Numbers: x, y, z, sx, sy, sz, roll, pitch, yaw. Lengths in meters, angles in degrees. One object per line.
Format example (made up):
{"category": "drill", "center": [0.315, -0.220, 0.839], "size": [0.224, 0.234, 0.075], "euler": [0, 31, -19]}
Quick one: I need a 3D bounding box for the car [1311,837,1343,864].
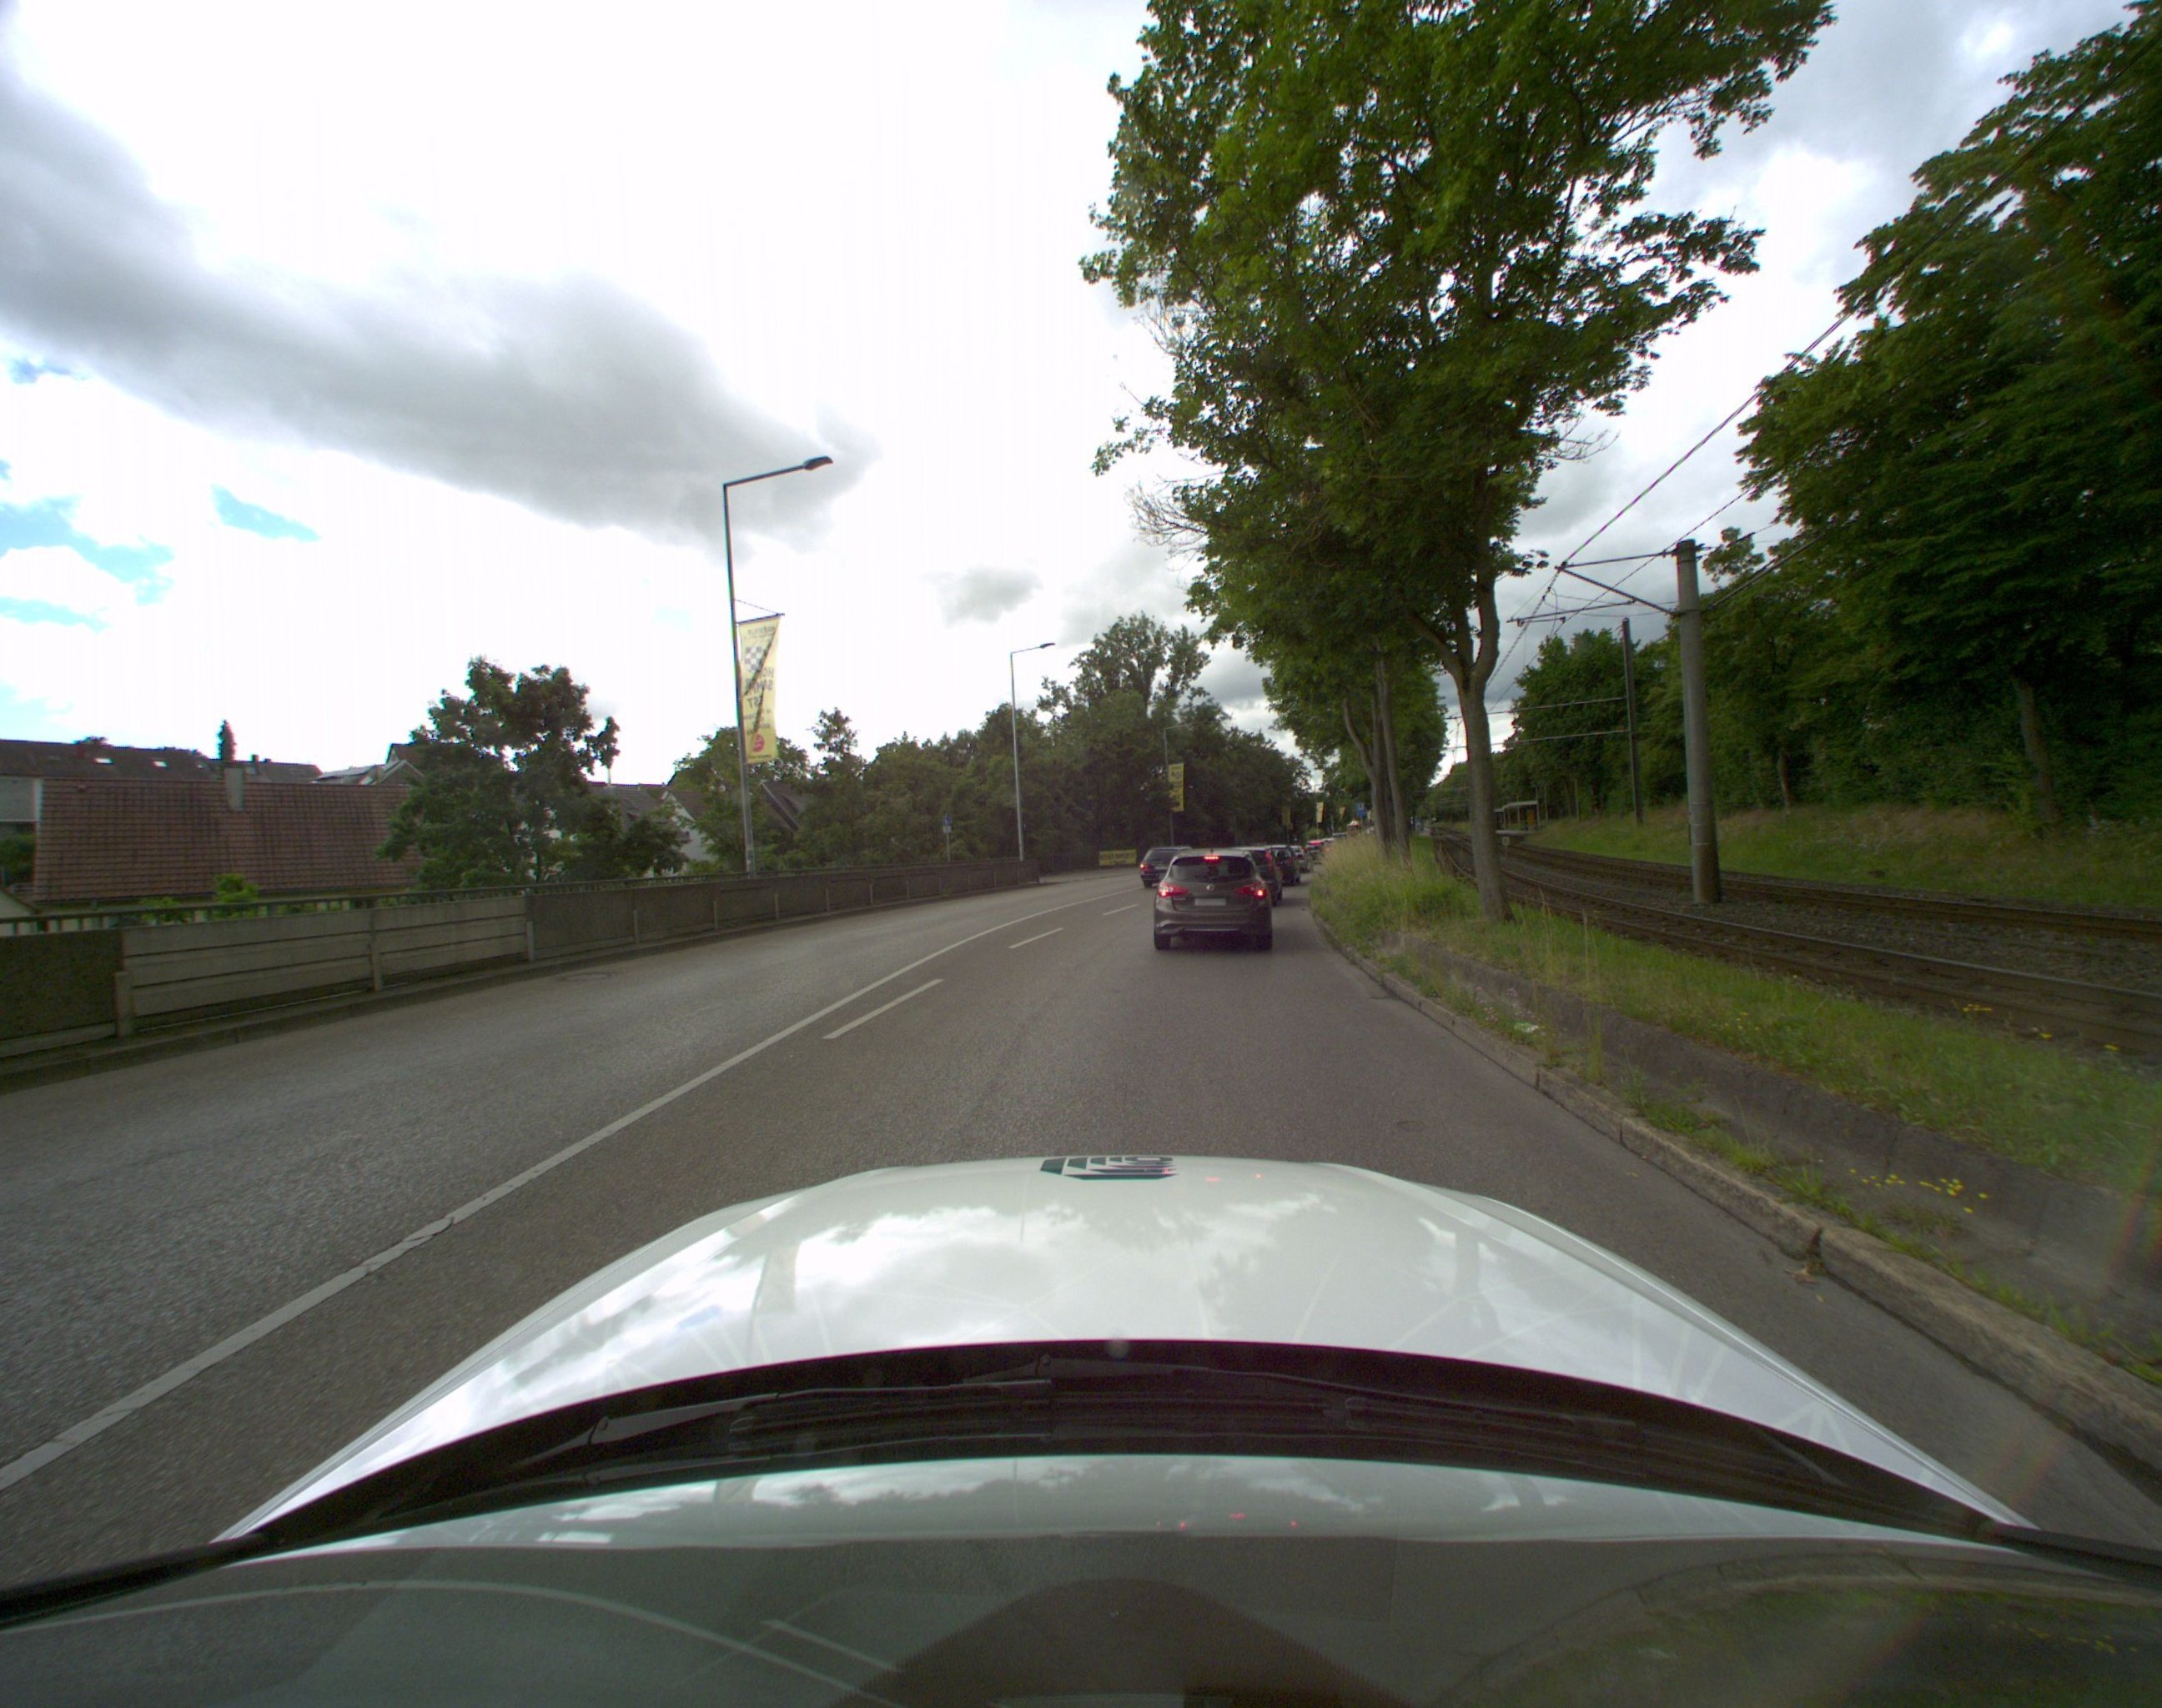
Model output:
{"category": "car", "center": [16.922, -0.212, 55.964], "size": [1.703, 1.693, 4.020], "euler": [-3, -2, 21]}

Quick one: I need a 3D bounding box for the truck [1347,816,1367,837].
{"category": "truck", "center": [55.357, -5.391, 163.328], "size": [2.630, 3.938, 10.170], "euler": [-2, 0, 25]}

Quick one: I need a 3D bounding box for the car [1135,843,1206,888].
{"category": "car", "center": [3.409, 0.375, 30.338], "size": [1.837, 1.486, 4.440], "euler": [-3, 0, 16]}

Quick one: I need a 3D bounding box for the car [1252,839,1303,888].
{"category": "car", "center": [7.027, 0.322, 29.142], "size": [1.567, 1.538, 4.015], "euler": [-3, -1, 14]}

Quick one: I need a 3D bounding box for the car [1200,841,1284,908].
{"category": "car", "center": [4.352, 0.509, 21.590], "size": [1.879, 1.574, 4.016], "euler": [-2, -1, 15]}

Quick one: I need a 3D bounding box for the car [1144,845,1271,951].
{"category": "car", "center": [2.180, 0.645, 13.621], "size": [1.763, 1.494, 4.012], "euler": [-1, -1, 11]}

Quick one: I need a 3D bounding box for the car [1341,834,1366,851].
{"category": "car", "center": [25.601, -1.079, 76.540], "size": [1.874, 1.445, 3.828], "euler": [-3, 0, 23]}

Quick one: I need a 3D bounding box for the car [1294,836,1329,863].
{"category": "car", "center": [14.059, -0.290, 49.507], "size": [1.790, 1.540, 4.019], "euler": [-1, 0, 19]}

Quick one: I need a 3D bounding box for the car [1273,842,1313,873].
{"category": "car", "center": [10.347, 0.169, 39.621], "size": [1.488, 1.364, 3.605], "euler": [-4, -1, 20]}
